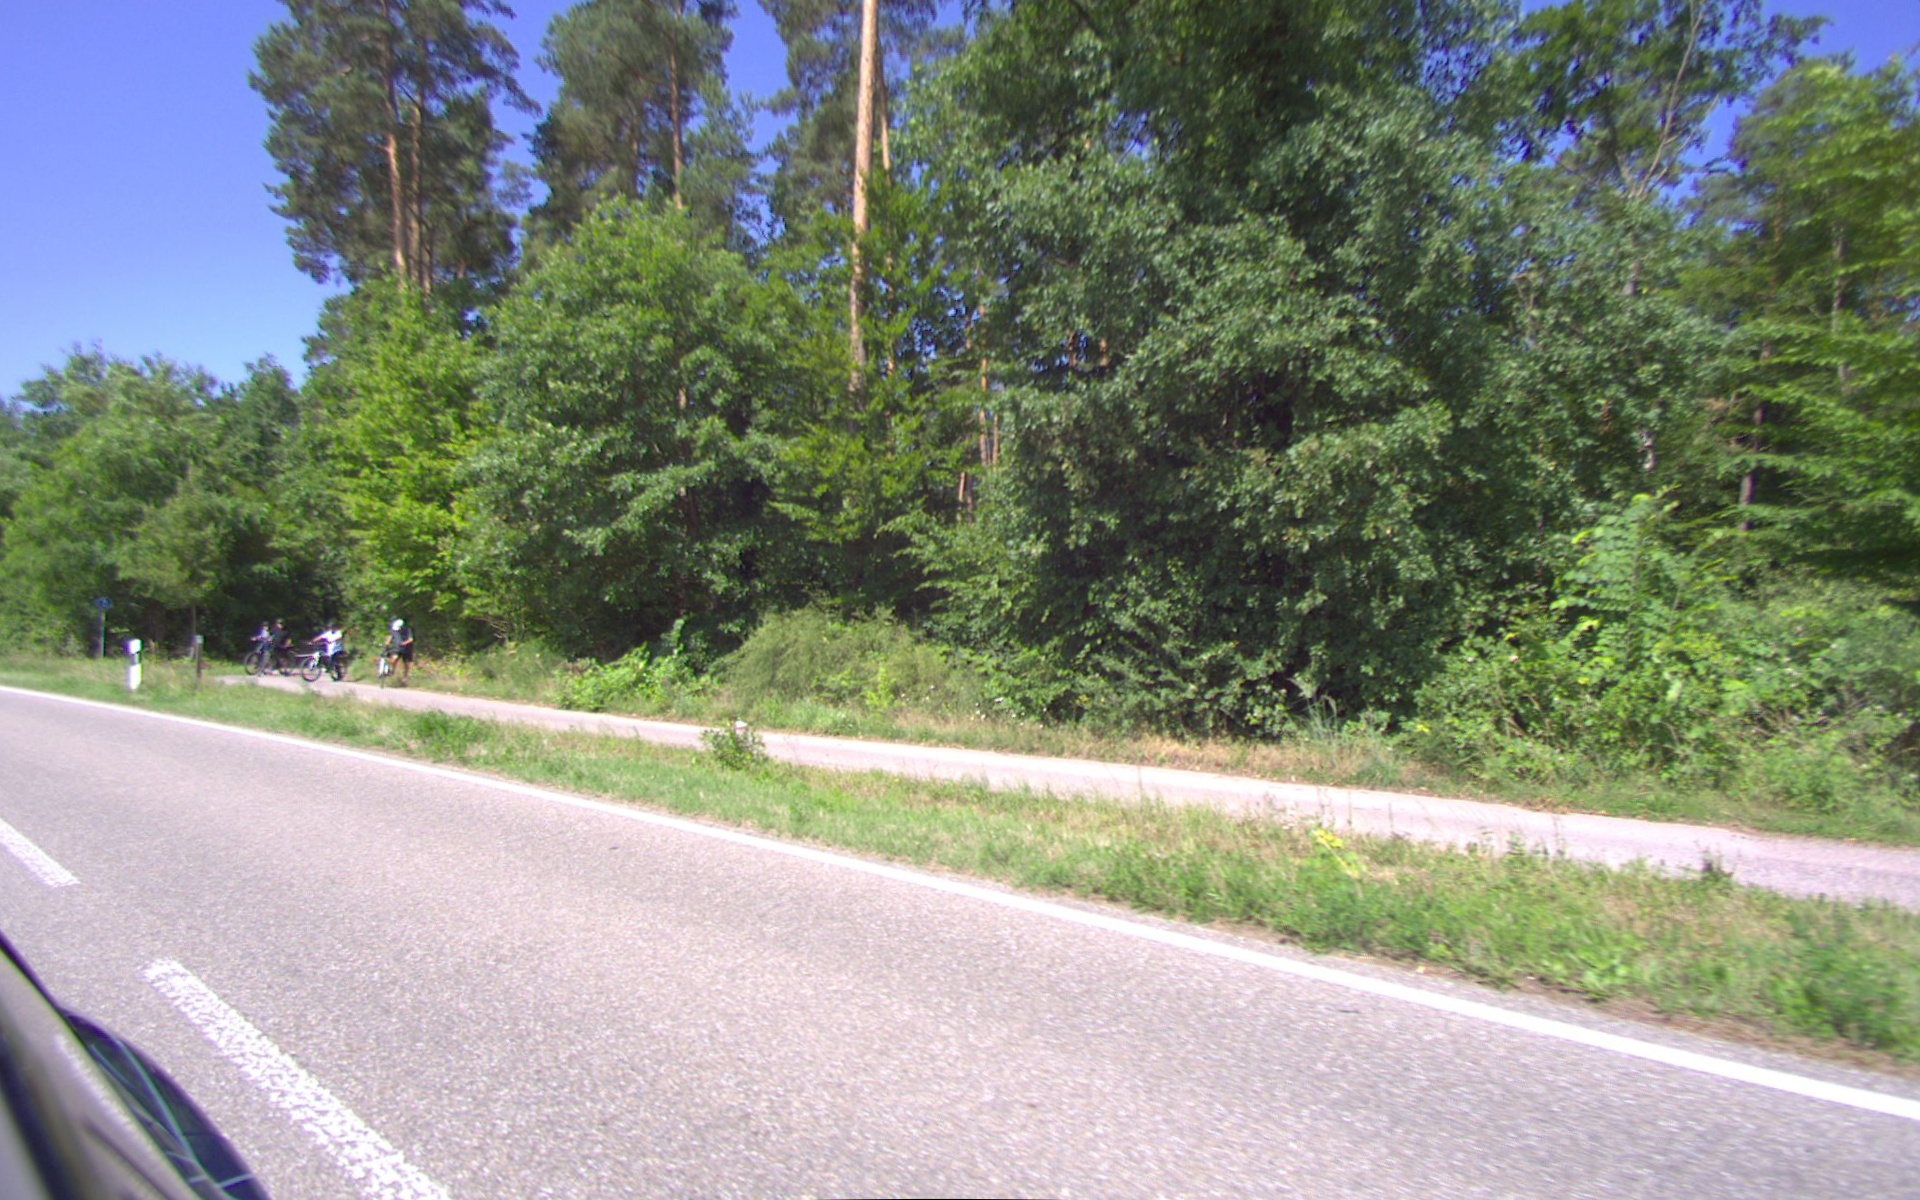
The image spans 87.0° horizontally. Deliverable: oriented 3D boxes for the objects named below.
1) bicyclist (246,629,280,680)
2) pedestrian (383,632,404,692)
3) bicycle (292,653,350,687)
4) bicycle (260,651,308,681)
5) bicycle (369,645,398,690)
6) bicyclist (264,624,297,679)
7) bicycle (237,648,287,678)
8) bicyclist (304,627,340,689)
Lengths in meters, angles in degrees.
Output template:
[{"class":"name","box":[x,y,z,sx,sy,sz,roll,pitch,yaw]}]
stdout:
[{"class":"bicyclist","box":[-22.198,1.730,32.237,0.596,1.557,0.874,0,0,-12]},{"class":"pedestrian","box":[-14.831,1.622,26.501,0.389,1.550,0.282,-1,-2,29]},{"class":"bicycle","box":[-18.528,2.007,29.392,0.597,0.836,1.988,0,0,-5]},{"class":"bicycle","box":[-21.592,2.092,32.381,0.596,0.836,1.990,0,0,-12]},{"class":"bicycle","box":[-15.057,1.742,26.443,0.572,1.094,1.452,-1,-1,-27]},{"class":"bicyclist","box":[-21.550,1.624,32.125,0.596,1.713,0.853,0,0,-12]},{"class":"bicycle","box":[-22.197,1.994,32.201,0.596,0.836,1.990,0,0,-12]},{"class":"bicyclist","box":[-18.538,1.672,29.416,0.597,1.732,0.790,0,0,-5]}]
